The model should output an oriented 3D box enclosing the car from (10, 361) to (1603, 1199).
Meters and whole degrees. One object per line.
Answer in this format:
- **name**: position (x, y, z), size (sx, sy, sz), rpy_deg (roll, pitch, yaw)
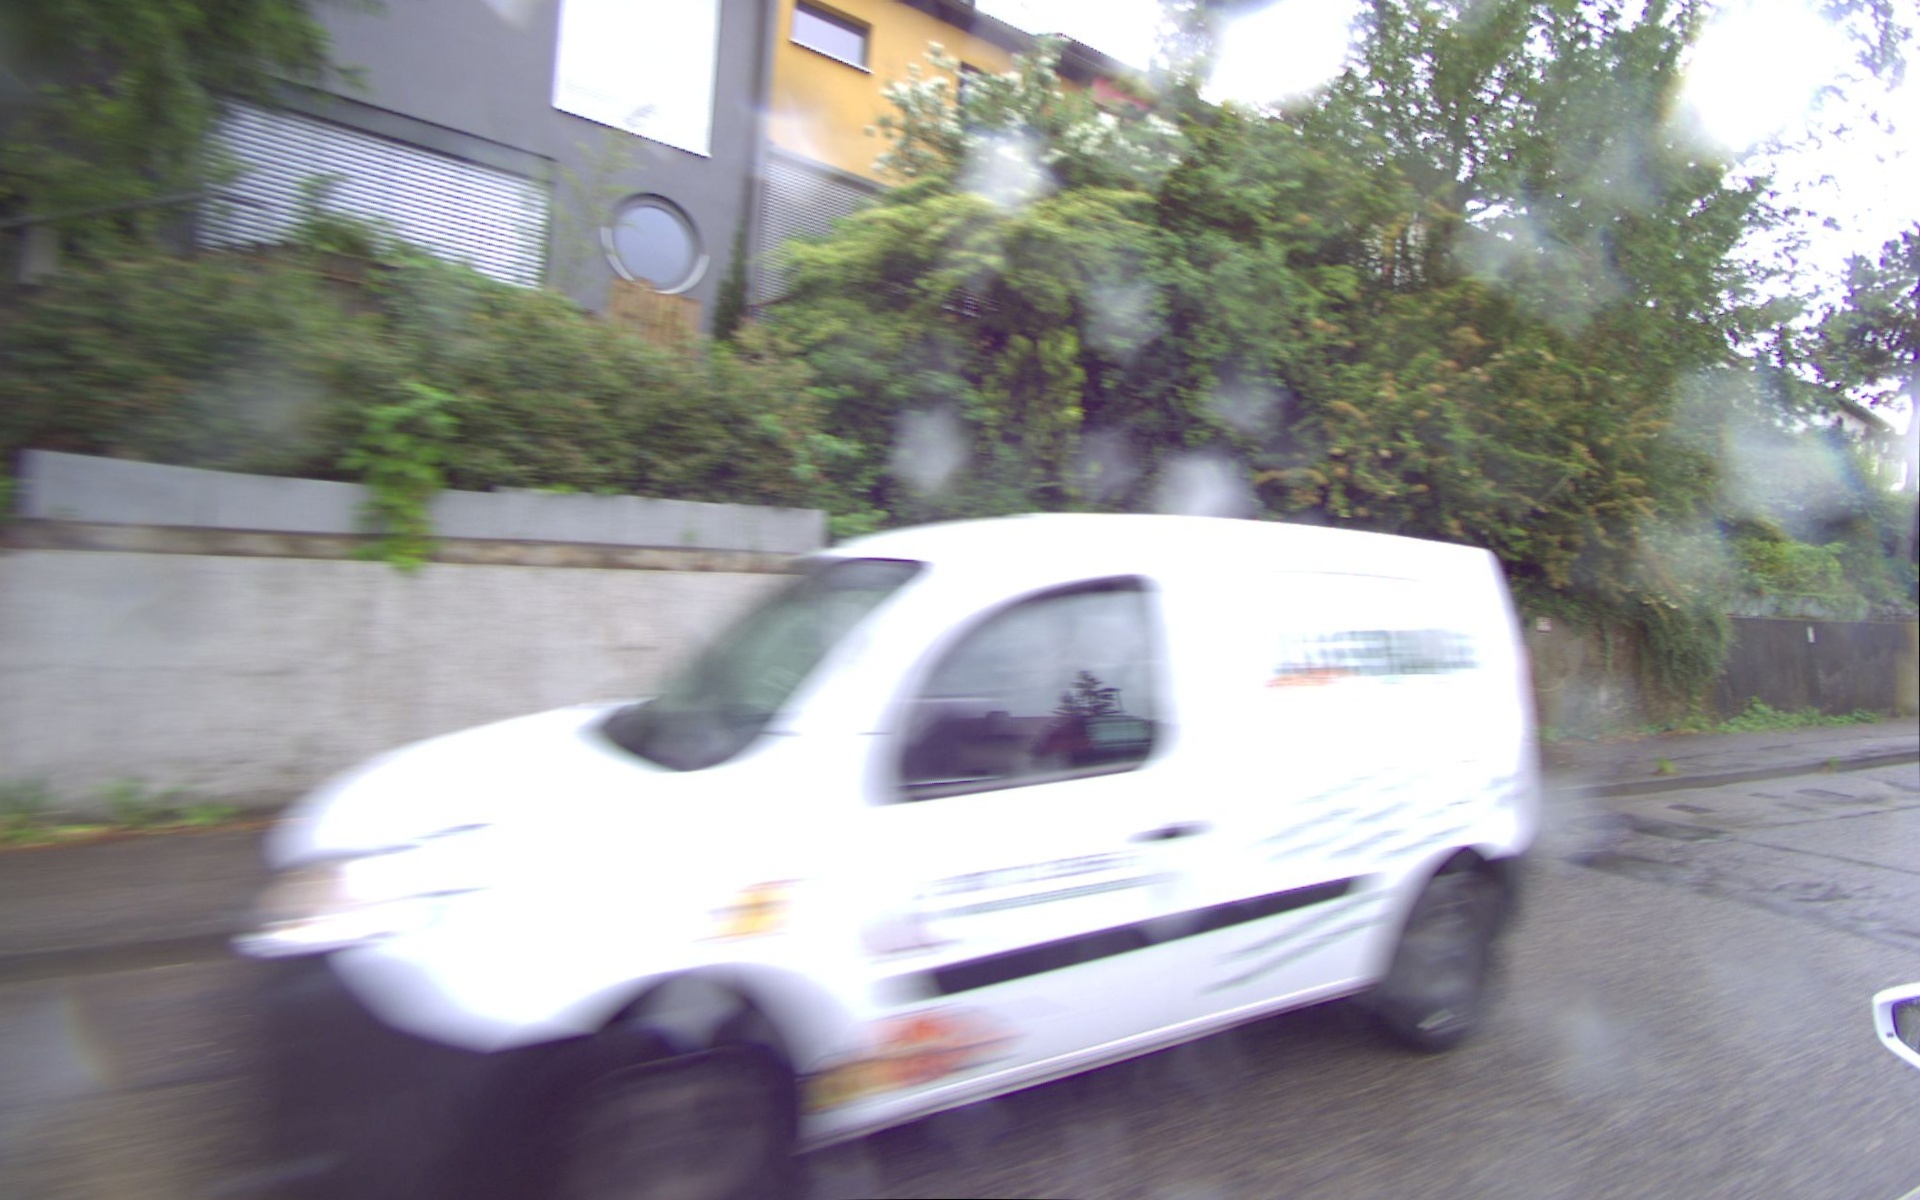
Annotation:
- **car**: position (0.004, 0.556, 3.432), size (4.367, 1.779, 1.831), rpy_deg (2, 1, -30)
